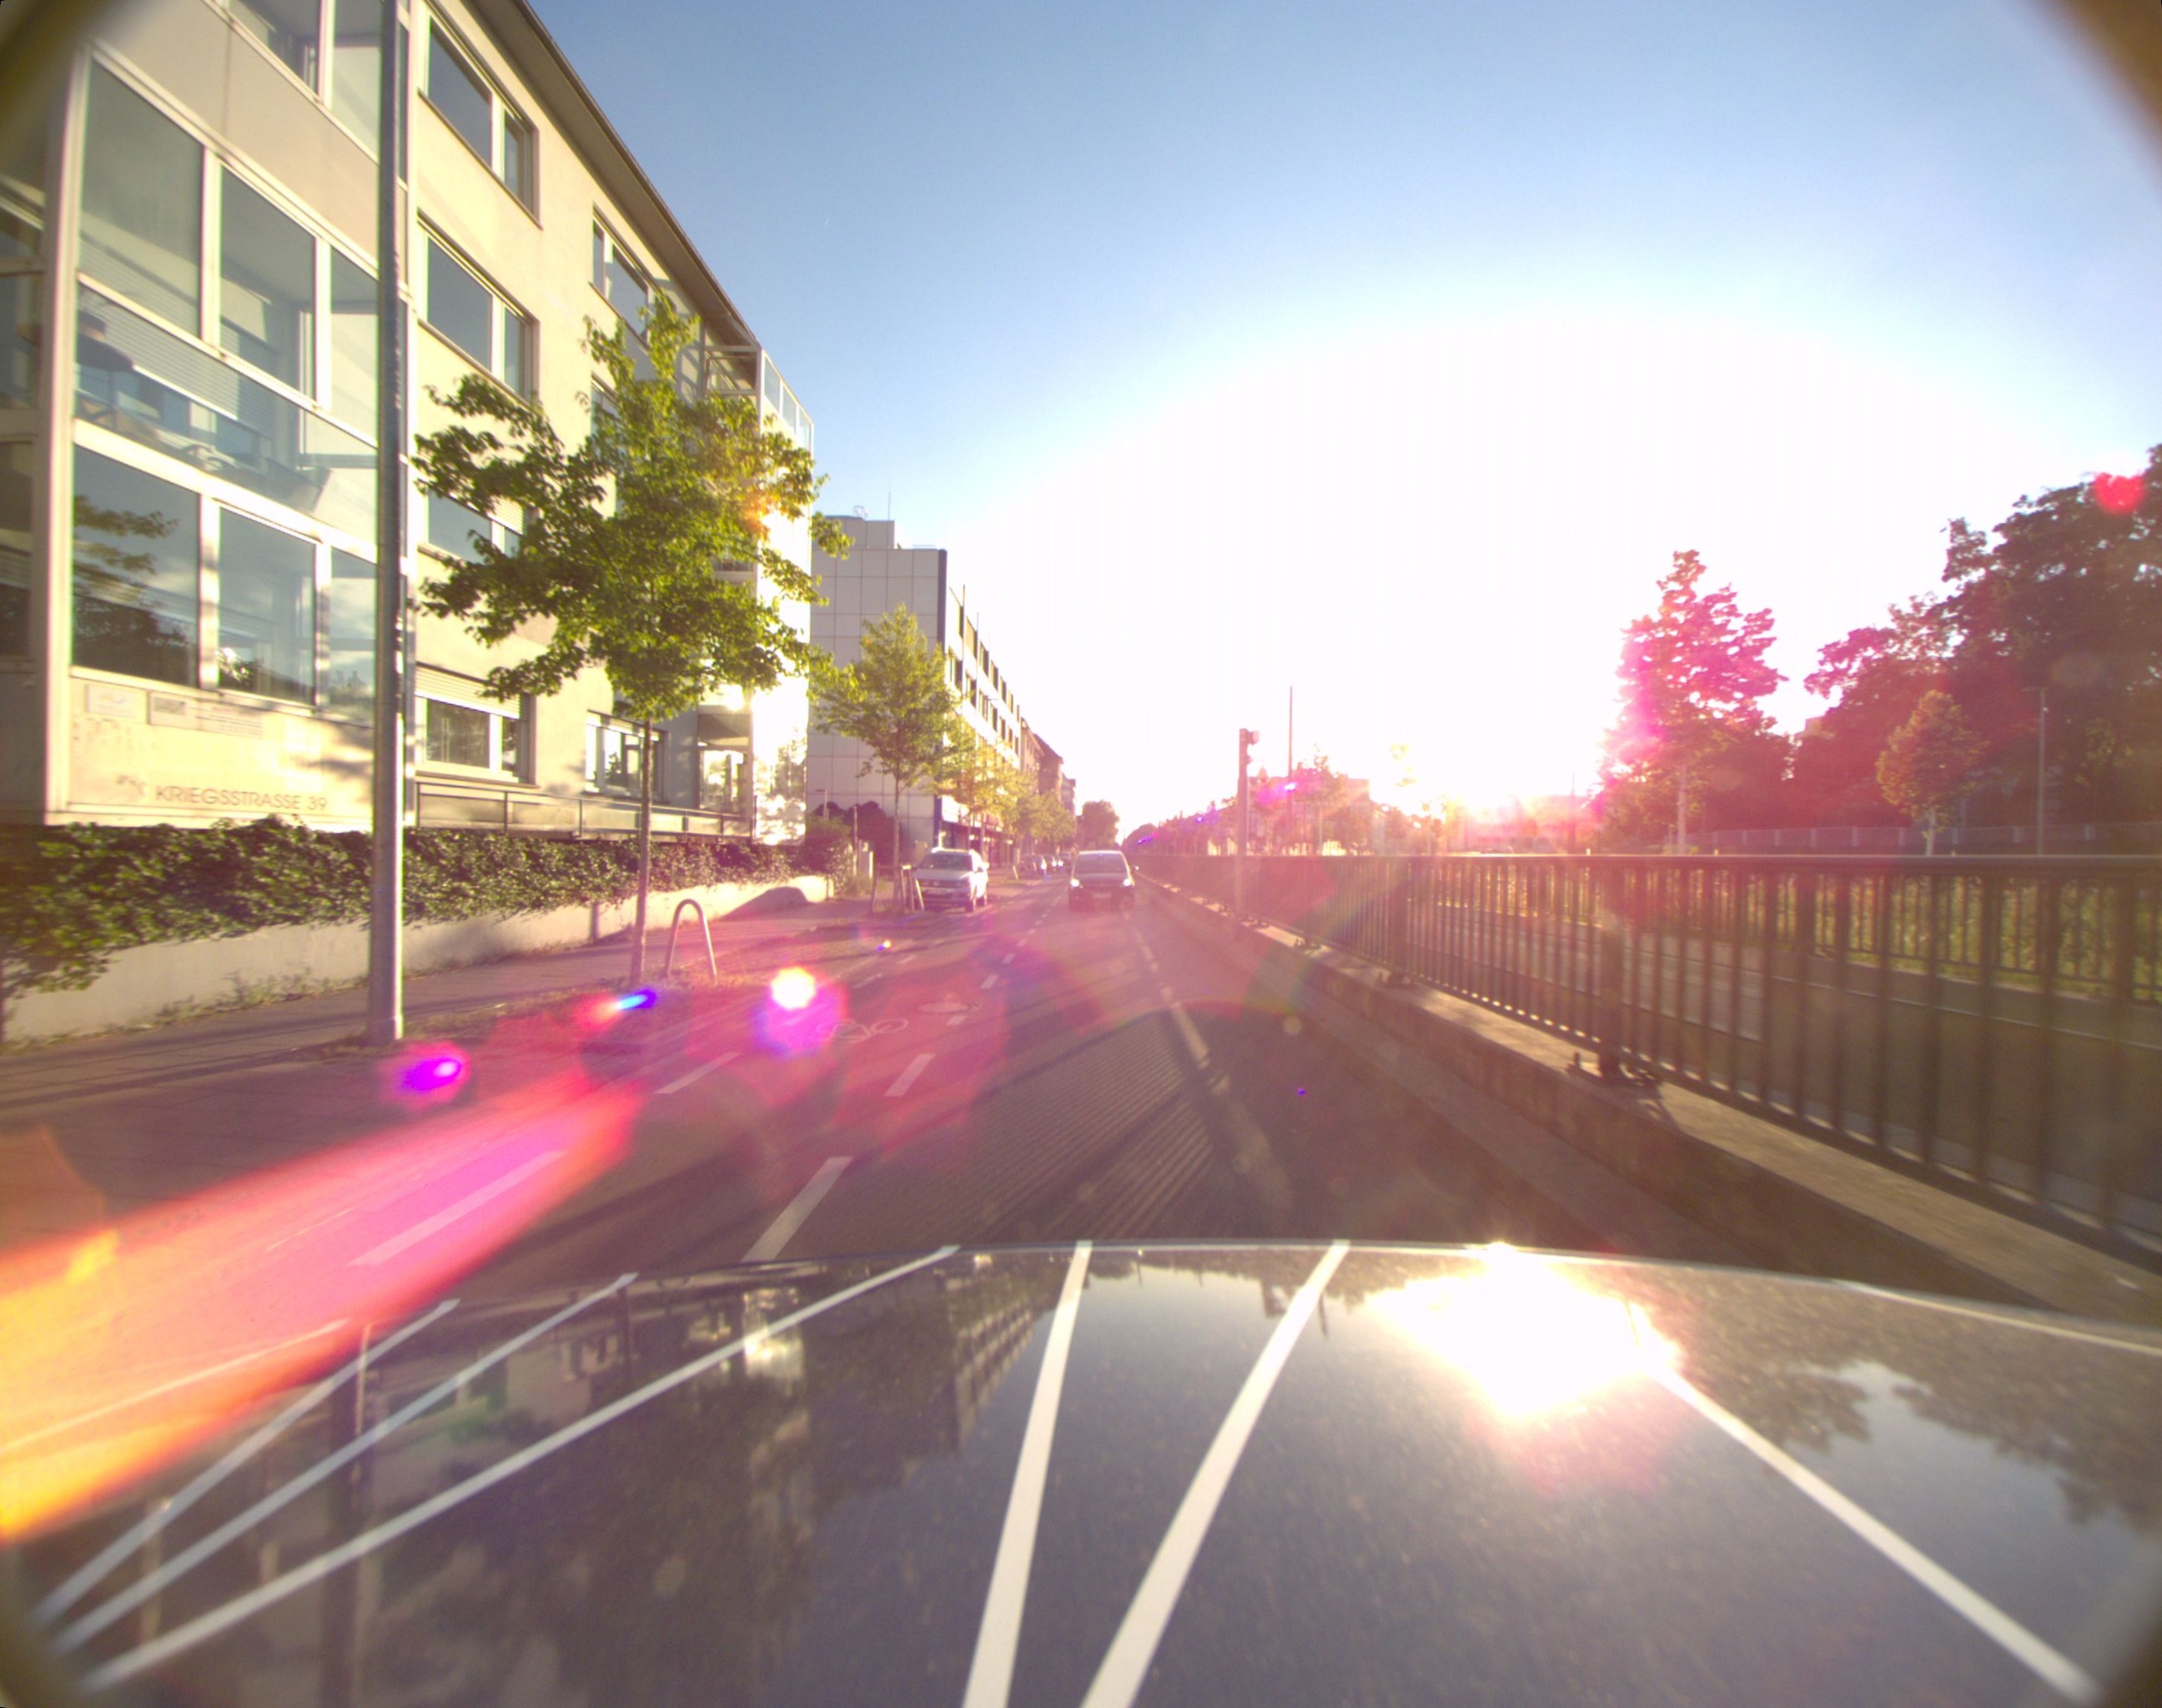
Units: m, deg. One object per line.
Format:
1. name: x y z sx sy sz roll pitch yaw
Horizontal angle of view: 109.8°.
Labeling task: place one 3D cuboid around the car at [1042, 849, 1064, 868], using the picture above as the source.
1. car: -2.612 0.397 71.461 1.824 1.557 4.809 4 0 -1

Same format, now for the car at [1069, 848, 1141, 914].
1. car: 0.622 0.670 21.239 1.800 1.609 4.386 -1 1 0

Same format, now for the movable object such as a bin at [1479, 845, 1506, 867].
1. movable object such as a bin: 50.241 0.210 92.848 1.996 2.690 4.004 0 1 14

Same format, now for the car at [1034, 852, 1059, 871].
1. car: -2.734 0.569 60.965 1.687 1.446 4.129 2 1 0

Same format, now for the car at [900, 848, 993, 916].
1. car: -3.701 0.713 21.602 1.859 1.697 4.253 2 0 -1

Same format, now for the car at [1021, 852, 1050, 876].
1. car: -3.019 0.651 50.657 1.824 1.446 4.127 1 1 -3

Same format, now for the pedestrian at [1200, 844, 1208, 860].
1. pedestrian: 12.930 -0.189 79.621 0.636 1.719 0.635 0 1 -11

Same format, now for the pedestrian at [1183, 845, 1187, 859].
1. pedestrian: 12.978 -0.261 95.228 0.472 1.776 0.626 1 1 9

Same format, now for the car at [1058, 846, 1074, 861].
1. car: -1.815 -0.074 92.589 1.761 1.644 4.528 3 0 1
